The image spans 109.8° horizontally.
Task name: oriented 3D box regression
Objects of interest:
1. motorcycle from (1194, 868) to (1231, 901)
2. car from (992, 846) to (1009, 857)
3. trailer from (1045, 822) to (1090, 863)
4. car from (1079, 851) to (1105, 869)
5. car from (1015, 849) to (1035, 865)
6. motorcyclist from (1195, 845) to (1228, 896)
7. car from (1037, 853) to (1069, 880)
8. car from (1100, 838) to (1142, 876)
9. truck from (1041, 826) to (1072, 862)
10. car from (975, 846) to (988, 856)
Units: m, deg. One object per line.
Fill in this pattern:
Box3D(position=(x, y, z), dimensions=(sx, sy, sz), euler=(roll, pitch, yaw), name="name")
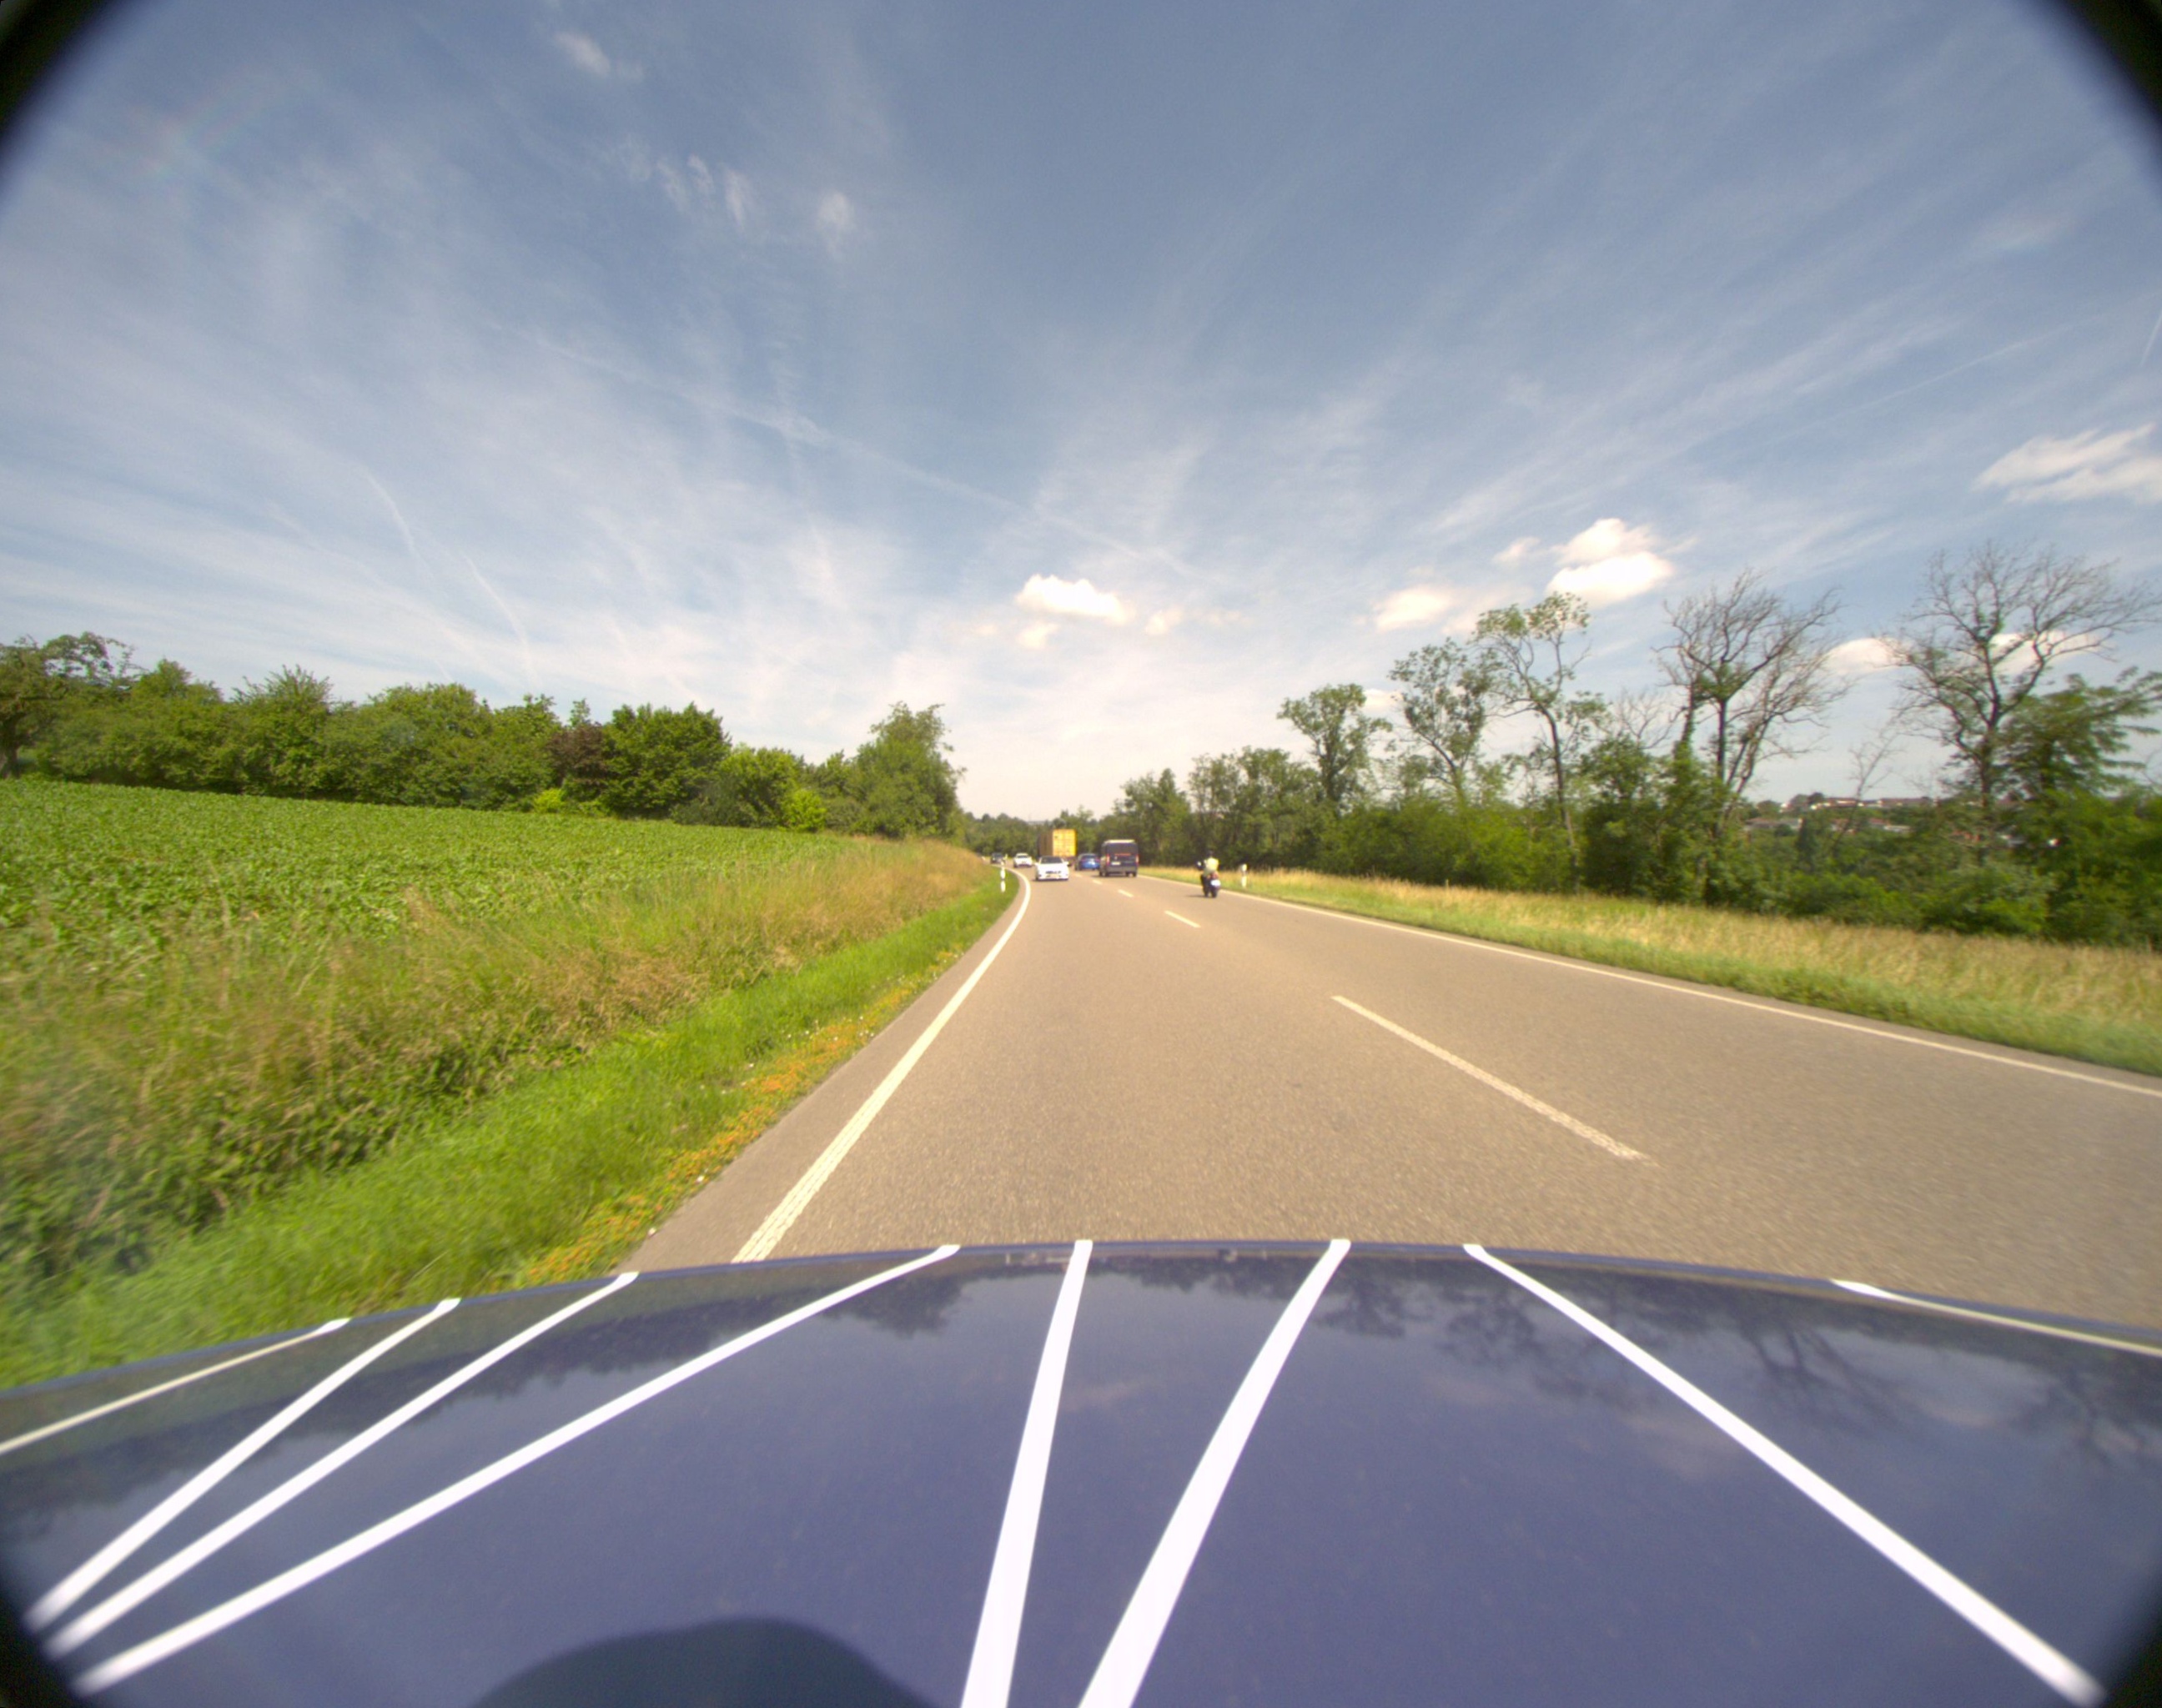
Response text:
Box3D(position=(4.387, 0.991, 25.539), dimensions=(0.759, 0.988, 2.279), euler=(0, 1, -3), name="motorcycle")
Box3D(position=(-11.643, -0.369, 110.144), dimensions=(1.827, 1.510, 3.994), euler=(3, 0, -14), name="car")
Box3D(position=(-1.643, -1.134, 81.935), dimensions=(3.007, 4.020, 12.905), euler=(-1, 0, -9), name="trailer")
Box3D(position=(0.895, 0.499, 66.475), dimensions=(1.868, 1.477, 4.356), euler=(-1, 0, -4), name="car")
Box3D(position=(-6.146, 0.309, 83.183), dimensions=(1.867, 1.480, 3.996), euler=(-2, 2, -7), name="car")
Box3D(position=(4.407, 0.540, 25.636), dimensions=(0.921, 1.708, 0.962), euler=(-1, 1, -1), name="motorcyclist")
Box3D(position=(-1.707, 0.739, 45.629), dimensions=(1.773, 1.437, 3.998), euler=(-2, 1, -4), name="car")
Box3D(position=(2.553, 0.197, 49.872), dimensions=(2.177, 2.290, 4.905), euler=(-2, 0, -3), name="car")
Box3D(position=(-2.881, -1.128, 89.223), dimensions=(2.816, 4.043, 5.979), euler=(-1, 0, -10), name="truck")
Box3D(position=(-17.157, -0.527, 131.165), dimensions=(1.668, 1.641, 3.994), euler=(3, 0, -13), name="car")
